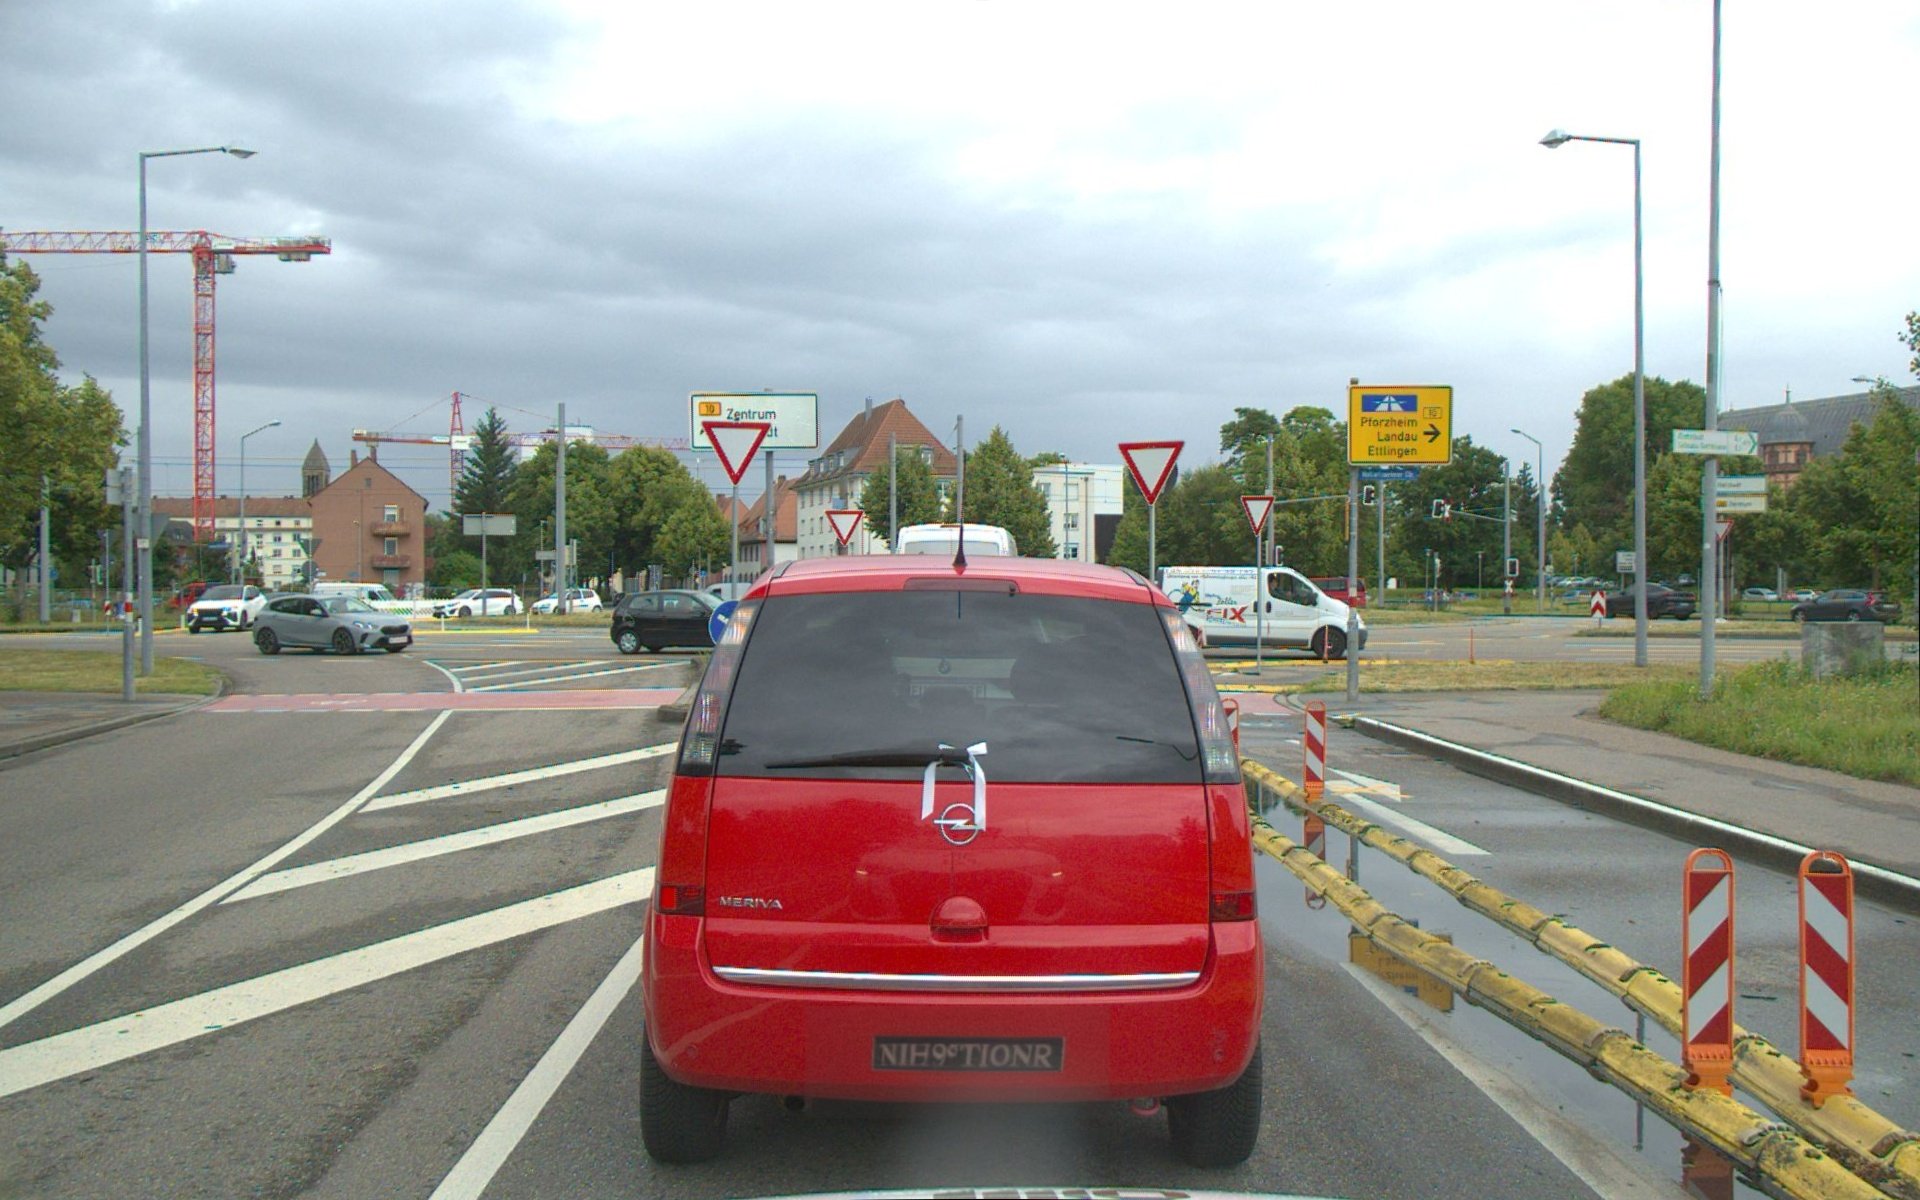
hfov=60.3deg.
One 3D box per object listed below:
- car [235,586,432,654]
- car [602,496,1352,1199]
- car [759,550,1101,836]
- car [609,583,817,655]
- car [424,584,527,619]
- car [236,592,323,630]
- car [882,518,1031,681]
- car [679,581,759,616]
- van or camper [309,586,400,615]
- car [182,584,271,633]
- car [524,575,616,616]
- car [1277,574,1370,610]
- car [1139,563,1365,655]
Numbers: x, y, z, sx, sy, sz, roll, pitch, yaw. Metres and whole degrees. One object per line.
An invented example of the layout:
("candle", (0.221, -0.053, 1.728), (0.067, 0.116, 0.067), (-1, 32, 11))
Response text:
("car", (-15.604, 0.477, 41.242), (4.336, 1.630, 2.099), (0, 0, 23))
("car", (0.013, 0.605, 5.472), (1.639, 1.669, 3.626), (1, 0, -1))
("car", (-0.213, 0.537, 12.168), (2.018, 1.676, 4.606), (1, 0, -1))
("car", (-5.748, 0.433, 38.716), (4.331, 1.630, 2.101), (0, 0, 15))
("car", (-23.474, 0.061, 80.267), (1.959, 1.663, 4.660), (0, 0, 34))
("car", (-27.804, 0.426, 67.708), (1.891, 1.515, 4.000), (-1, 0, -1))
("car", (0.044, -0.029, 28.925), (2.149, 2.584, 4.965), (1, 0, 5))
("car", (-14.482, -0.125, 99.383), (4.404, 2.049, 1.986), (-1, 0, -24))
("van or camper", (-44.271, 0.018, 120.947), (6.045, 2.049, 2.002), (0, 0, 10))
("car", (-26.817, 0.281, 60.596), (1.895, 1.713, 4.181), (-1, 0, -9))
("car", (-19.967, -0.236, 84.849), (1.959, 2.049, 4.466), (0, 0, 34))
("car", (20.651, -0.453, 94.152), (4.807, 1.951, 2.101), (0, 0, 44))
("car", (6.362, 0.191, 36.280), (4.729, 1.933, 2.101), (0, 0, 9))
